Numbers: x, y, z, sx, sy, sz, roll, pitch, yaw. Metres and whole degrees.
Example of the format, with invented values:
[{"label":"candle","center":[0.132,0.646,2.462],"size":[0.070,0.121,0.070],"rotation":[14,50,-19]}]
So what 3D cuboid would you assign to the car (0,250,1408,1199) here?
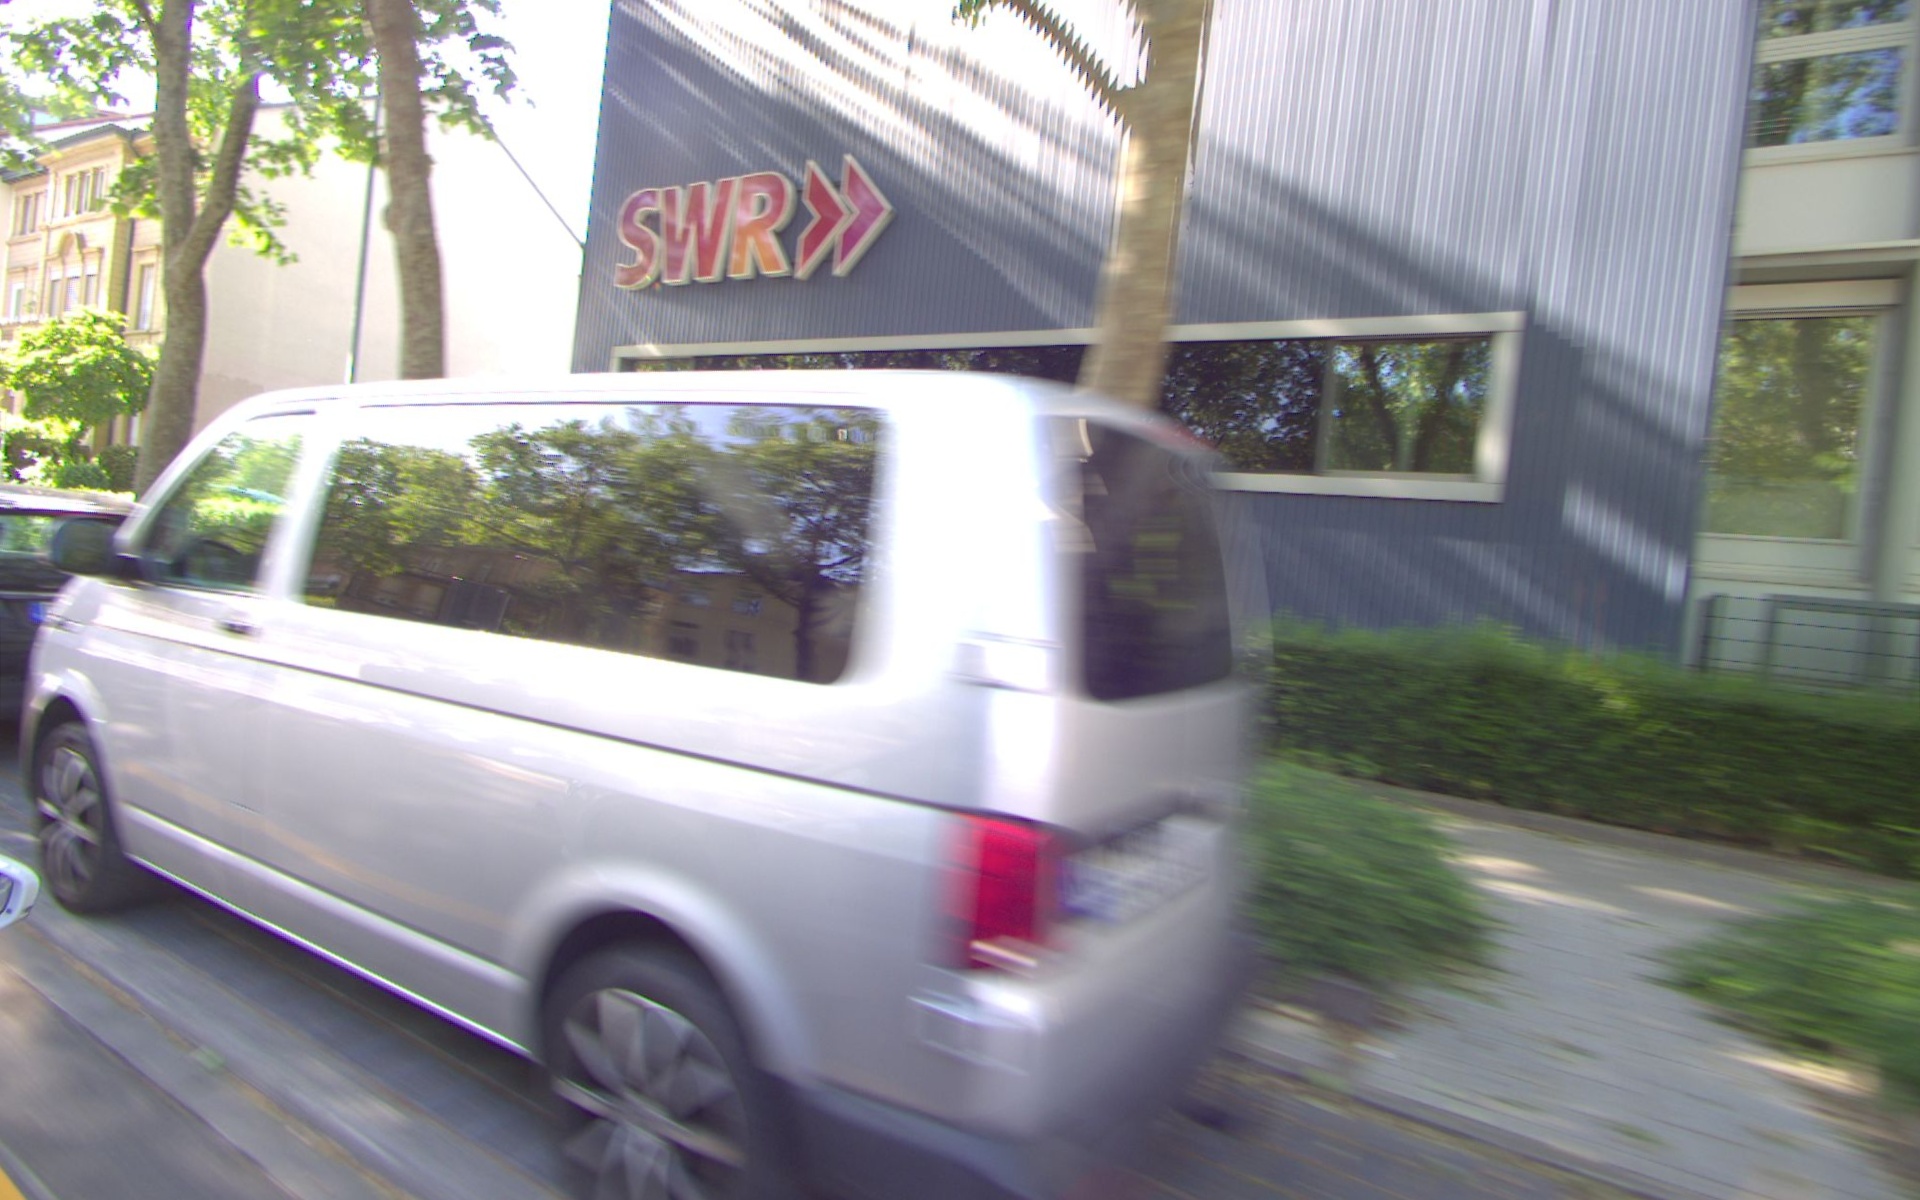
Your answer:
[{"label":"car","center":[-1.397,0.290,3.640],"size":[5.183,1.970,2.029],"rotation":[7,0,30]}]

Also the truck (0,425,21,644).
[{"label":"truck","center":[-10.672,-0.818,9.114],"size":[4.378,1.905,1.879],"rotation":[6,1,30]}]

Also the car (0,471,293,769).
[{"label":"car","center":[-6.285,-0.059,6.464],"size":[4.033,1.496,1.749],"rotation":[6,0,32]}]

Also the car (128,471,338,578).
[{"label":"car","center":[-16.918,-1.706,23.553],"size":[3.444,1.875,1.709],"rotation":[8,-1,-3]}]
